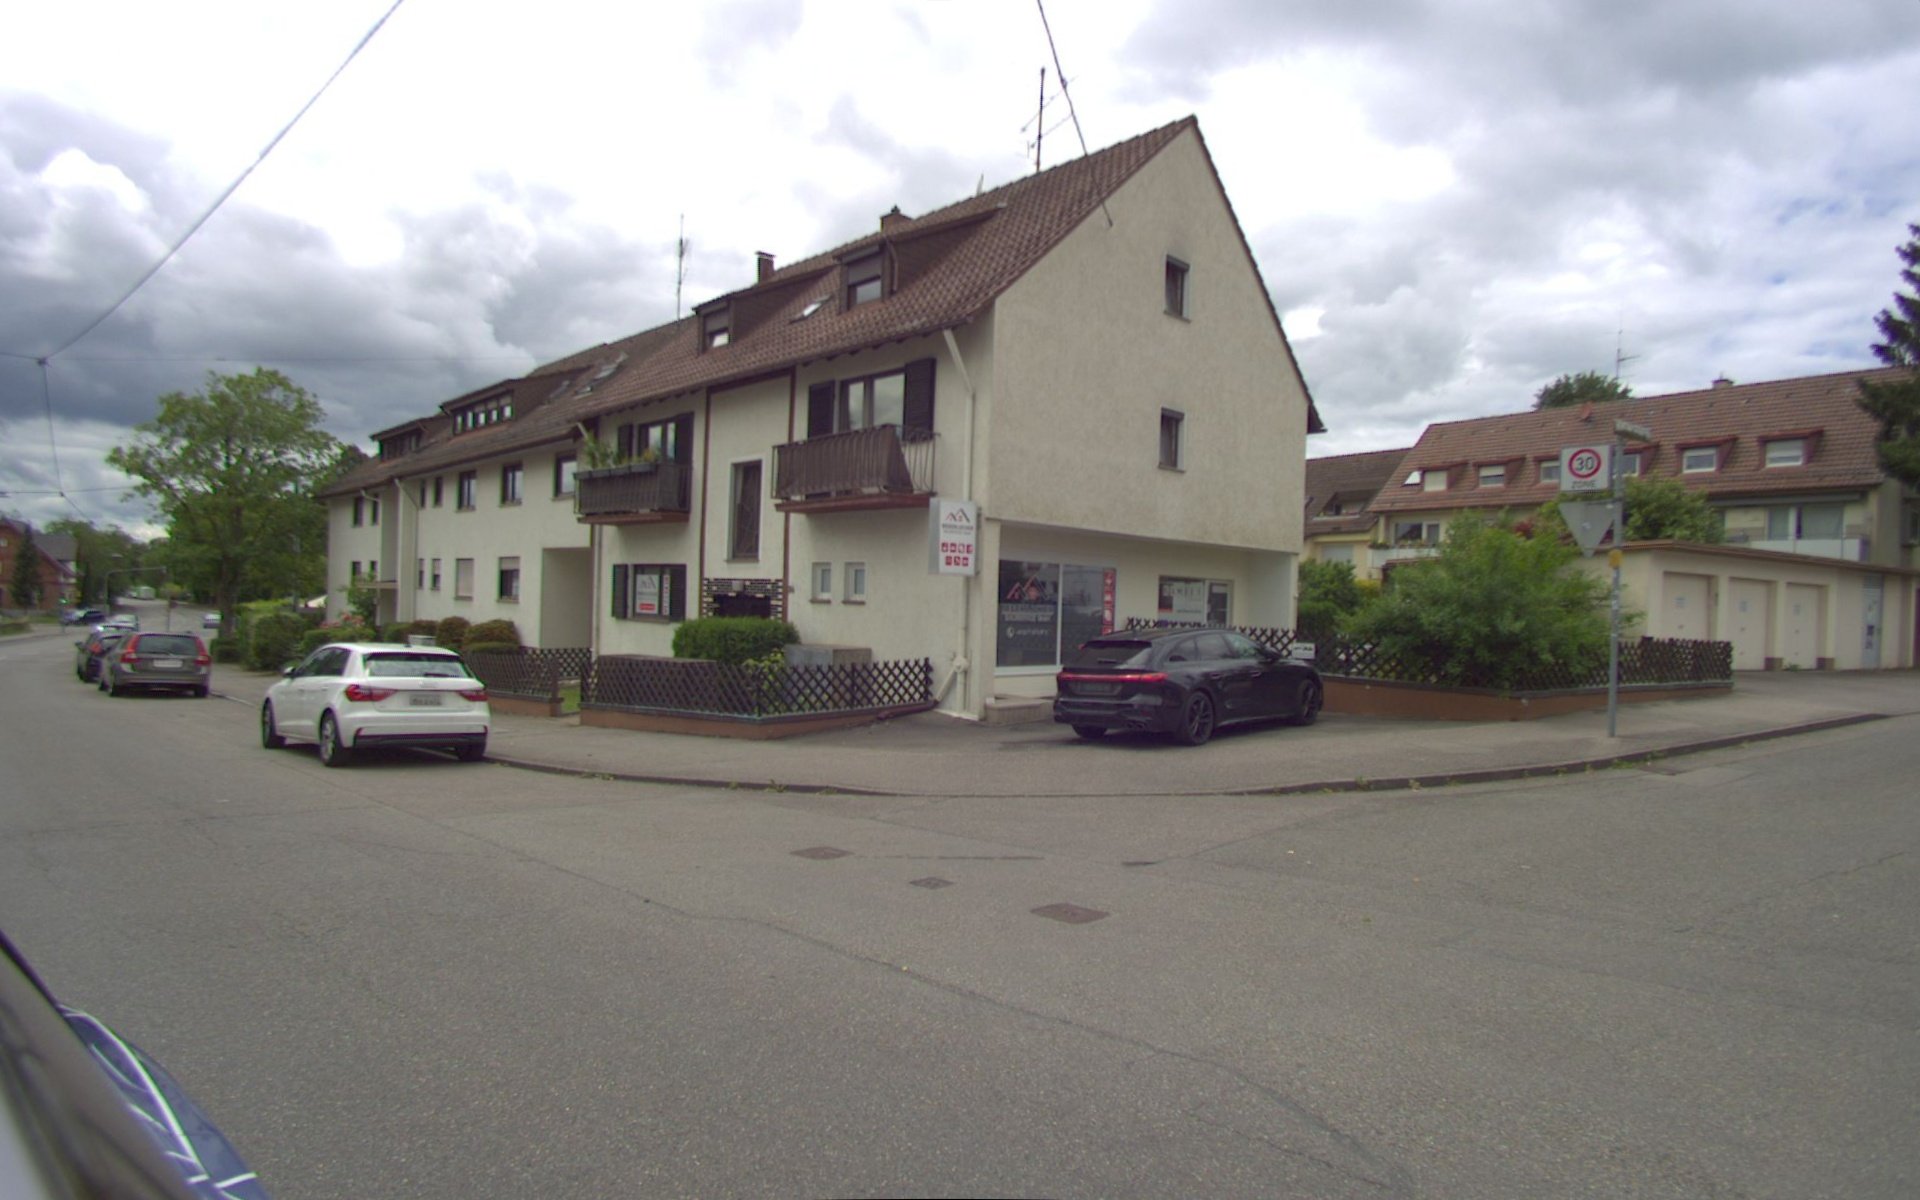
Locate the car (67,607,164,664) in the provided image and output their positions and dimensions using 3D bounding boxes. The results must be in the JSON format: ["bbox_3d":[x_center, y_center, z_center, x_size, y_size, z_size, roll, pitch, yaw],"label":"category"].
[{"bbox_3d":[-24.598,1.034,29.436,1.742,1.449,4.081,7,-6,-44],"label":"car"}]

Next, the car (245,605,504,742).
[{"bbox_3d":[-7.519,0.881,12.849,3.899,1.469,1.707,-1,-5,43],"label":"car"}]

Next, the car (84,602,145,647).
[{"bbox_3d":[-35.485,1.029,42.560,1.826,1.727,4.583,4,-3,-39],"label":"car"}]

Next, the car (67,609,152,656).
[{"bbox_3d":[-28.141,1.070,33.445,4.080,1.449,1.742,-1,-4,45],"label":"car"}]

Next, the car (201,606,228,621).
[{"bbox_3d":[-75.839,1.383,102.983,1.689,1.364,4.096,4,-2,-30],"label":"car"}]

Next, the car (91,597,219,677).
[{"bbox_3d":[-19.459,0.882,24.379,1.825,1.693,4.790,6,-5,-44],"label":"car"}]

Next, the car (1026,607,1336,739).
[{"bbox_3d":[3.145,0.864,13.817,4.465,1.483,2.001,0,-1,-44],"label":"car"}]
